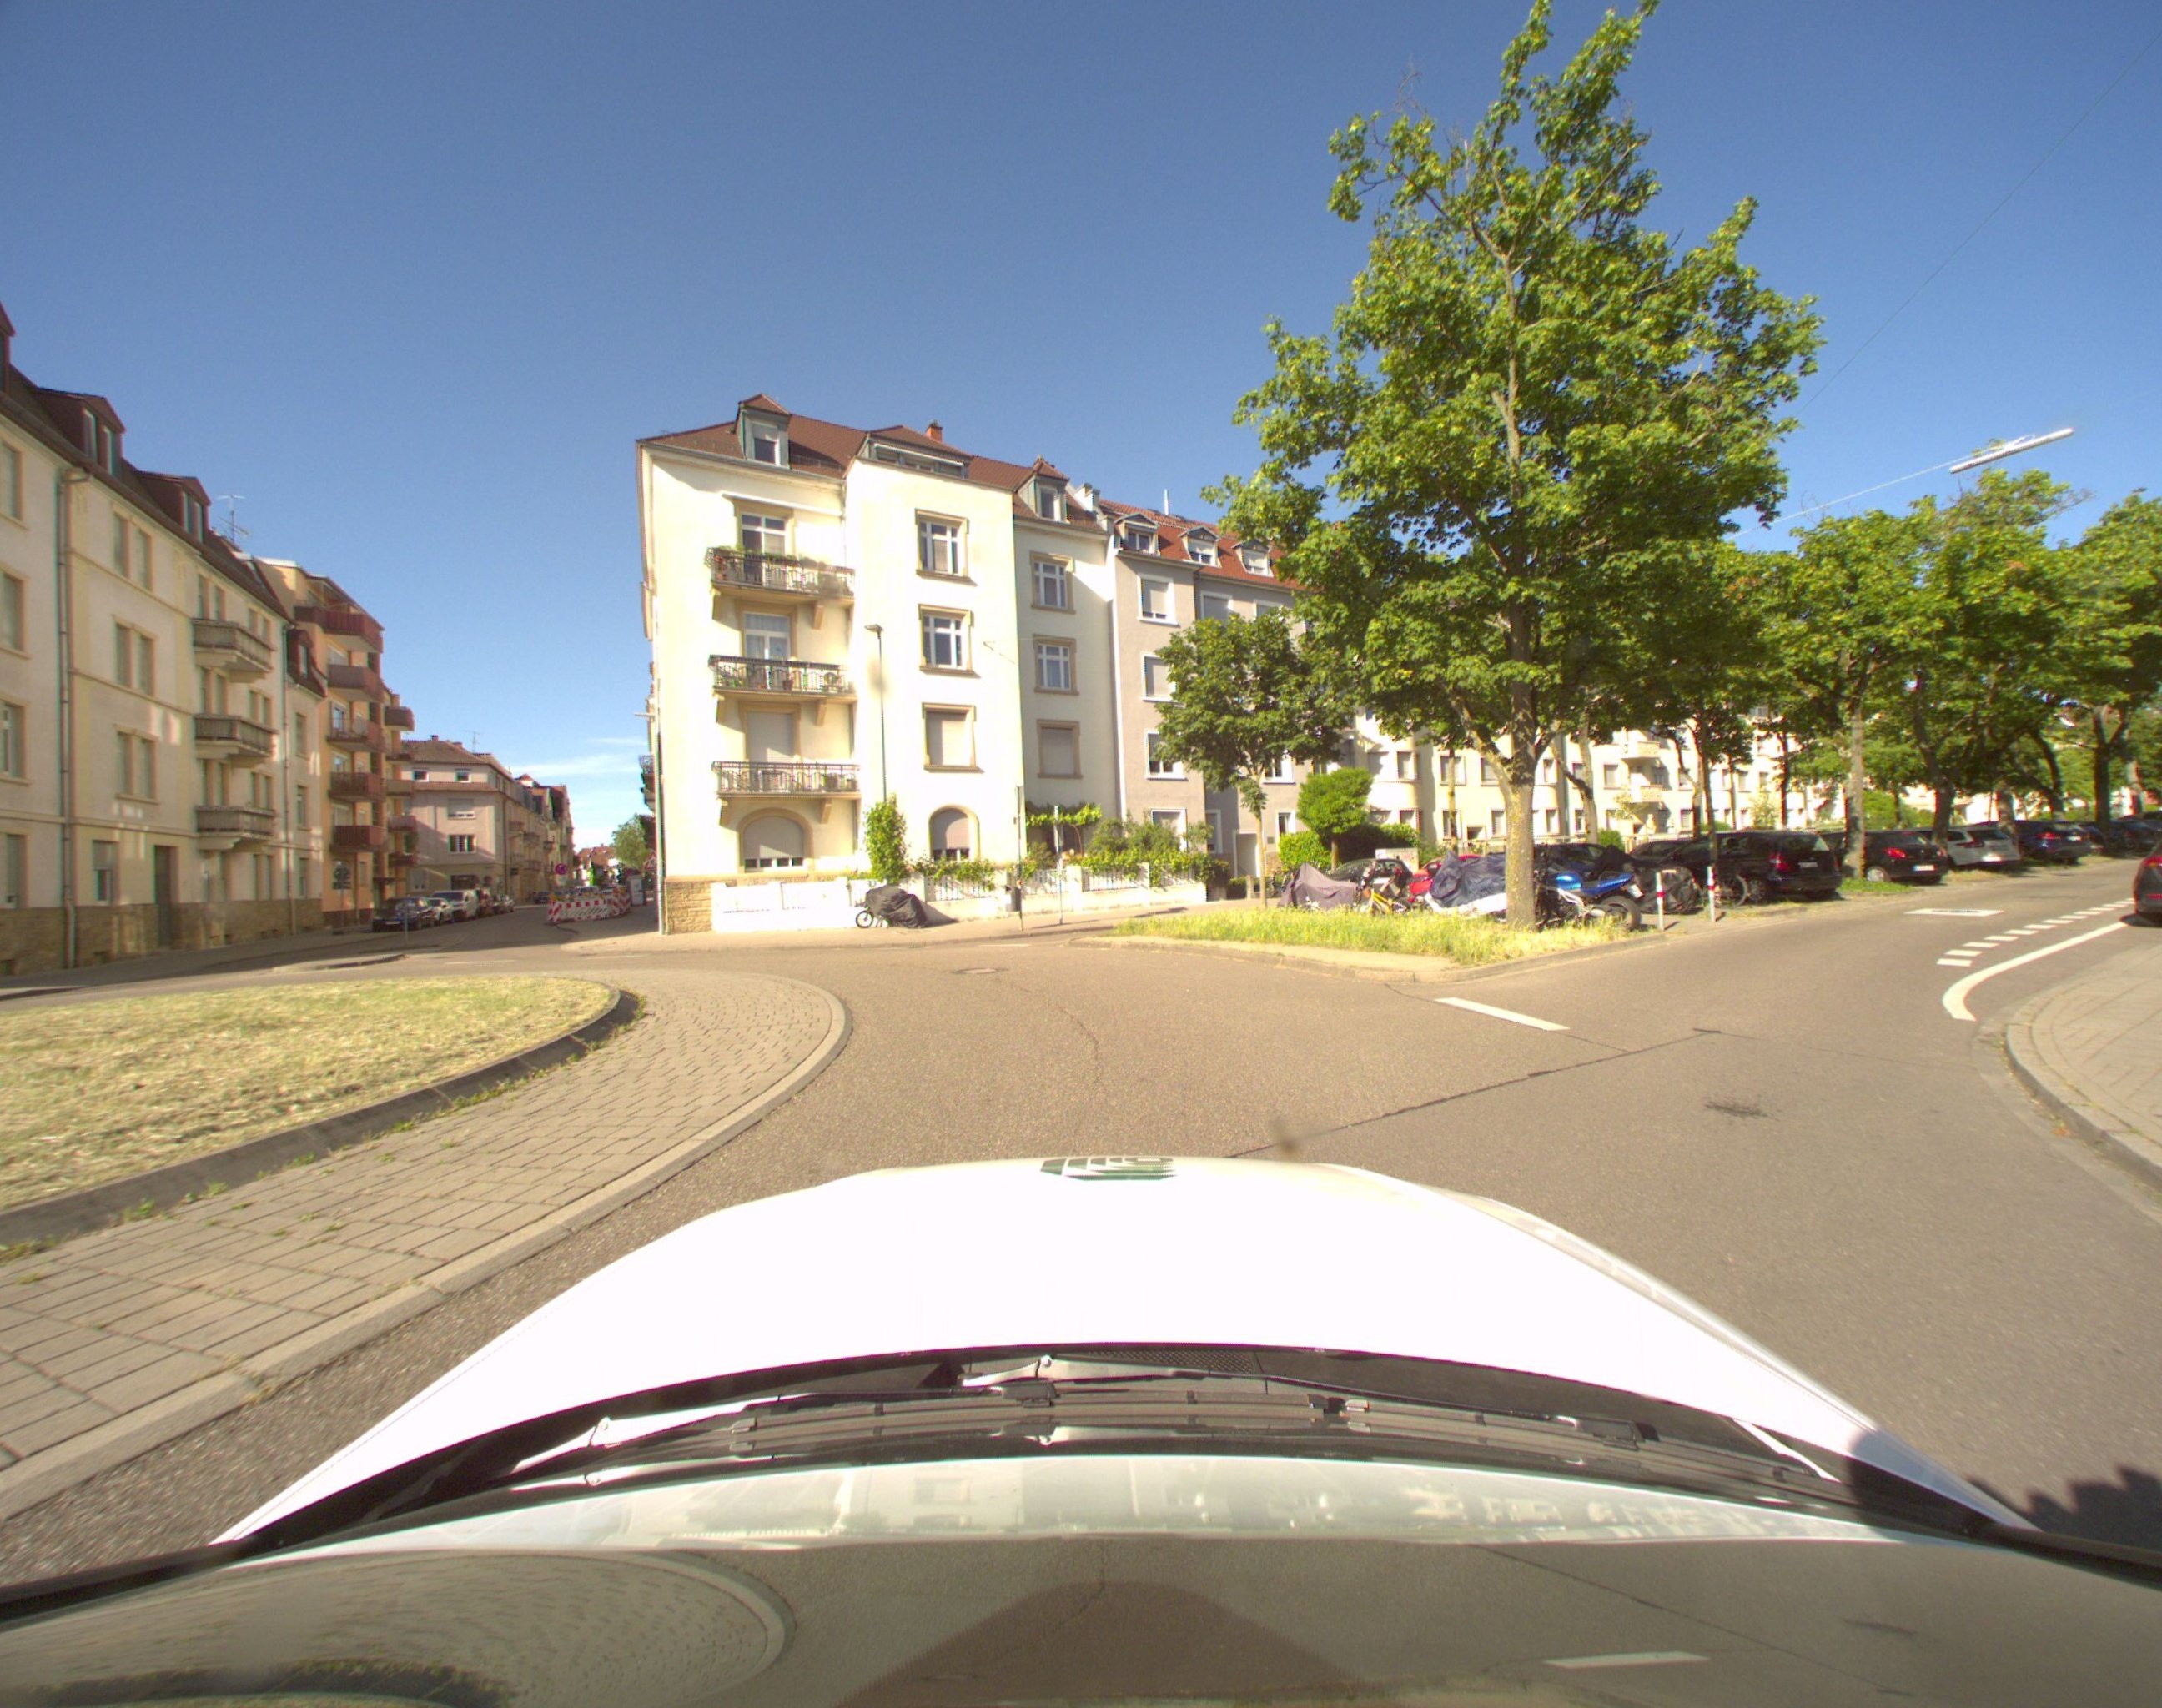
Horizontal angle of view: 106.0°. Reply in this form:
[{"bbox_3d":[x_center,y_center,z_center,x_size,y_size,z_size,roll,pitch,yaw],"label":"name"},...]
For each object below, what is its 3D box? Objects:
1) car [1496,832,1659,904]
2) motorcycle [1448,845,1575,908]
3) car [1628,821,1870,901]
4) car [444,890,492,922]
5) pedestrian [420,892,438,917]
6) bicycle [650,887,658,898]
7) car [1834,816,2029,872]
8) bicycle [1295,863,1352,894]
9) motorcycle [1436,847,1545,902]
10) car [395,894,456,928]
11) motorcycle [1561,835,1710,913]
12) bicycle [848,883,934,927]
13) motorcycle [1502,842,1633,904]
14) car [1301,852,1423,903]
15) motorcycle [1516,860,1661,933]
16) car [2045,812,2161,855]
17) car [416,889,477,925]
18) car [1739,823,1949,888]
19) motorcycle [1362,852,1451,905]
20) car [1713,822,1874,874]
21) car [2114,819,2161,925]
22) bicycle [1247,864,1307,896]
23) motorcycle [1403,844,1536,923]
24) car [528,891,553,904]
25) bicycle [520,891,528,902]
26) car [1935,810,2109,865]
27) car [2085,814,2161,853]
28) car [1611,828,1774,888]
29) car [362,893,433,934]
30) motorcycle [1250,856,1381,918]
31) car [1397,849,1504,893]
[{"bbox_3d":[12.828,0.361,21.366,1.792,1.640,3.875,-3,-1,-1],"label":"car"},{"bbox_3d":[9.493,0.507,18.051,1.055,1.268,2.220,-2,-1,-30],"label":"motorcycle"},{"bbox_3d":[15.371,0.187,19.067,1.995,1.598,3.984,-2,-1,-11],"label":"car"},{"bbox_3d":[-40.822,3.437,54.344,1.773,1.925,4.889,-1,-1,-28],"label":"car"},{"bbox_3d":[-49.117,3.788,61.366,0.930,1.817,0.985,-1,-2,-32],"label":"pedestrian"},{"bbox_3d":[-52.987,4.749,101.072,0.766,1.247,2.568,-2,-1,-28],"label":"bicycle"},{"bbox_3d":[26.938,-0.254,26.005,1.774,1.548,3.990,-3,-1,-7],"label":"car"},{"bbox_3d":[9.458,0.940,31.773,2.262,1.059,0.676,-3,-1,-28],"label":"bicycle"},{"bbox_3d":[10.355,0.526,20.689,1.055,1.268,2.220,-2,-1,-30],"label":"motorcycle"},{"bbox_3d":[-35.323,3.052,44.012,1.773,1.621,4.255,-1,-1,-28],"label":"car"},{"bbox_3d":[10.810,0.396,15.950,1.066,1.392,2.106,-2,-1,-31],"label":"motorcycle"},{"bbox_3d":[-5.384,1.453,23.097,2.262,1.157,0.769,-2,-2,14],"label":"bicycle"},{"bbox_3d":[10.795,0.428,18.166,1.055,1.268,2.220,-2,-1,-30],"label":"motorcycle"},{"bbox_3d":[9.558,0.788,27.647,3.970,1.445,1.735,-2,-3,-32],"label":"car"},{"bbox_3d":[8.277,0.667,13.370,0.816,1.072,1.828,-2,0,-29],"label":"motorcycle"},{"bbox_3d":[45.045,-0.873,35.420,1.868,1.723,4.011,-3,-1,10],"label":"car"},{"bbox_3d":[-37.855,3.111,48.708,1.987,1.925,5.260,-1,-1,-28],"label":"car"},{"bbox_3d":[21.096,0.081,22.779,1.870,1.598,3.991,-2,-1,-6],"label":"car"},{"bbox_3d":[8.145,0.626,20.448,0.892,1.236,1.876,-2,-1,-30],"label":"motorcycle"},{"bbox_3d":[24.586,-0.143,28.309,1.877,1.591,3.993,-3,-1,-4],"label":"car"},{"bbox_3d":[16.656,0.187,11.943,4.020,1.411,1.811,-3,0,-38],"label":"car"},{"bbox_3d":[7.341,0.981,30.469,2.262,1.059,0.676,-3,-1,-28],"label":"bicycle"},{"bbox_3d":[7.191,0.549,15.171,0.866,1.328,2.033,-2,-1,-33],"label":"motorcycle"},{"bbox_3d":[-58.275,4.684,87.873,1.688,1.427,4.236,0,-3,-26],"label":"car"},{"bbox_3d":[-68.544,5.241,100.244,0.544,1.301,1.850,-1,-2,-27],"label":"bicycle"},{"bbox_3d":[33.009,-0.527,28.774,1.868,1.723,4.011,-3,-1,10],"label":"car"},{"bbox_3d":[49.808,-0.978,37.763,1.868,1.723,4.011,-3,-1,10],"label":"car"},{"bbox_3d":[18.432,0.153,24.802,1.698,1.591,3.993,-3,-1,-4],"label":"car"},{"bbox_3d":[-32.867,2.798,39.287,1.773,1.771,4.254,-1,-1,-28],"label":"car"},{"bbox_3d":[5.325,0.760,18.747,1.132,1.268,2.753,-2,-1,-35],"label":"motorcycle"},{"bbox_3d":[13.816,0.618,30.412,3.868,1.445,1.735,-2,-1,-32],"label":"car"}]
